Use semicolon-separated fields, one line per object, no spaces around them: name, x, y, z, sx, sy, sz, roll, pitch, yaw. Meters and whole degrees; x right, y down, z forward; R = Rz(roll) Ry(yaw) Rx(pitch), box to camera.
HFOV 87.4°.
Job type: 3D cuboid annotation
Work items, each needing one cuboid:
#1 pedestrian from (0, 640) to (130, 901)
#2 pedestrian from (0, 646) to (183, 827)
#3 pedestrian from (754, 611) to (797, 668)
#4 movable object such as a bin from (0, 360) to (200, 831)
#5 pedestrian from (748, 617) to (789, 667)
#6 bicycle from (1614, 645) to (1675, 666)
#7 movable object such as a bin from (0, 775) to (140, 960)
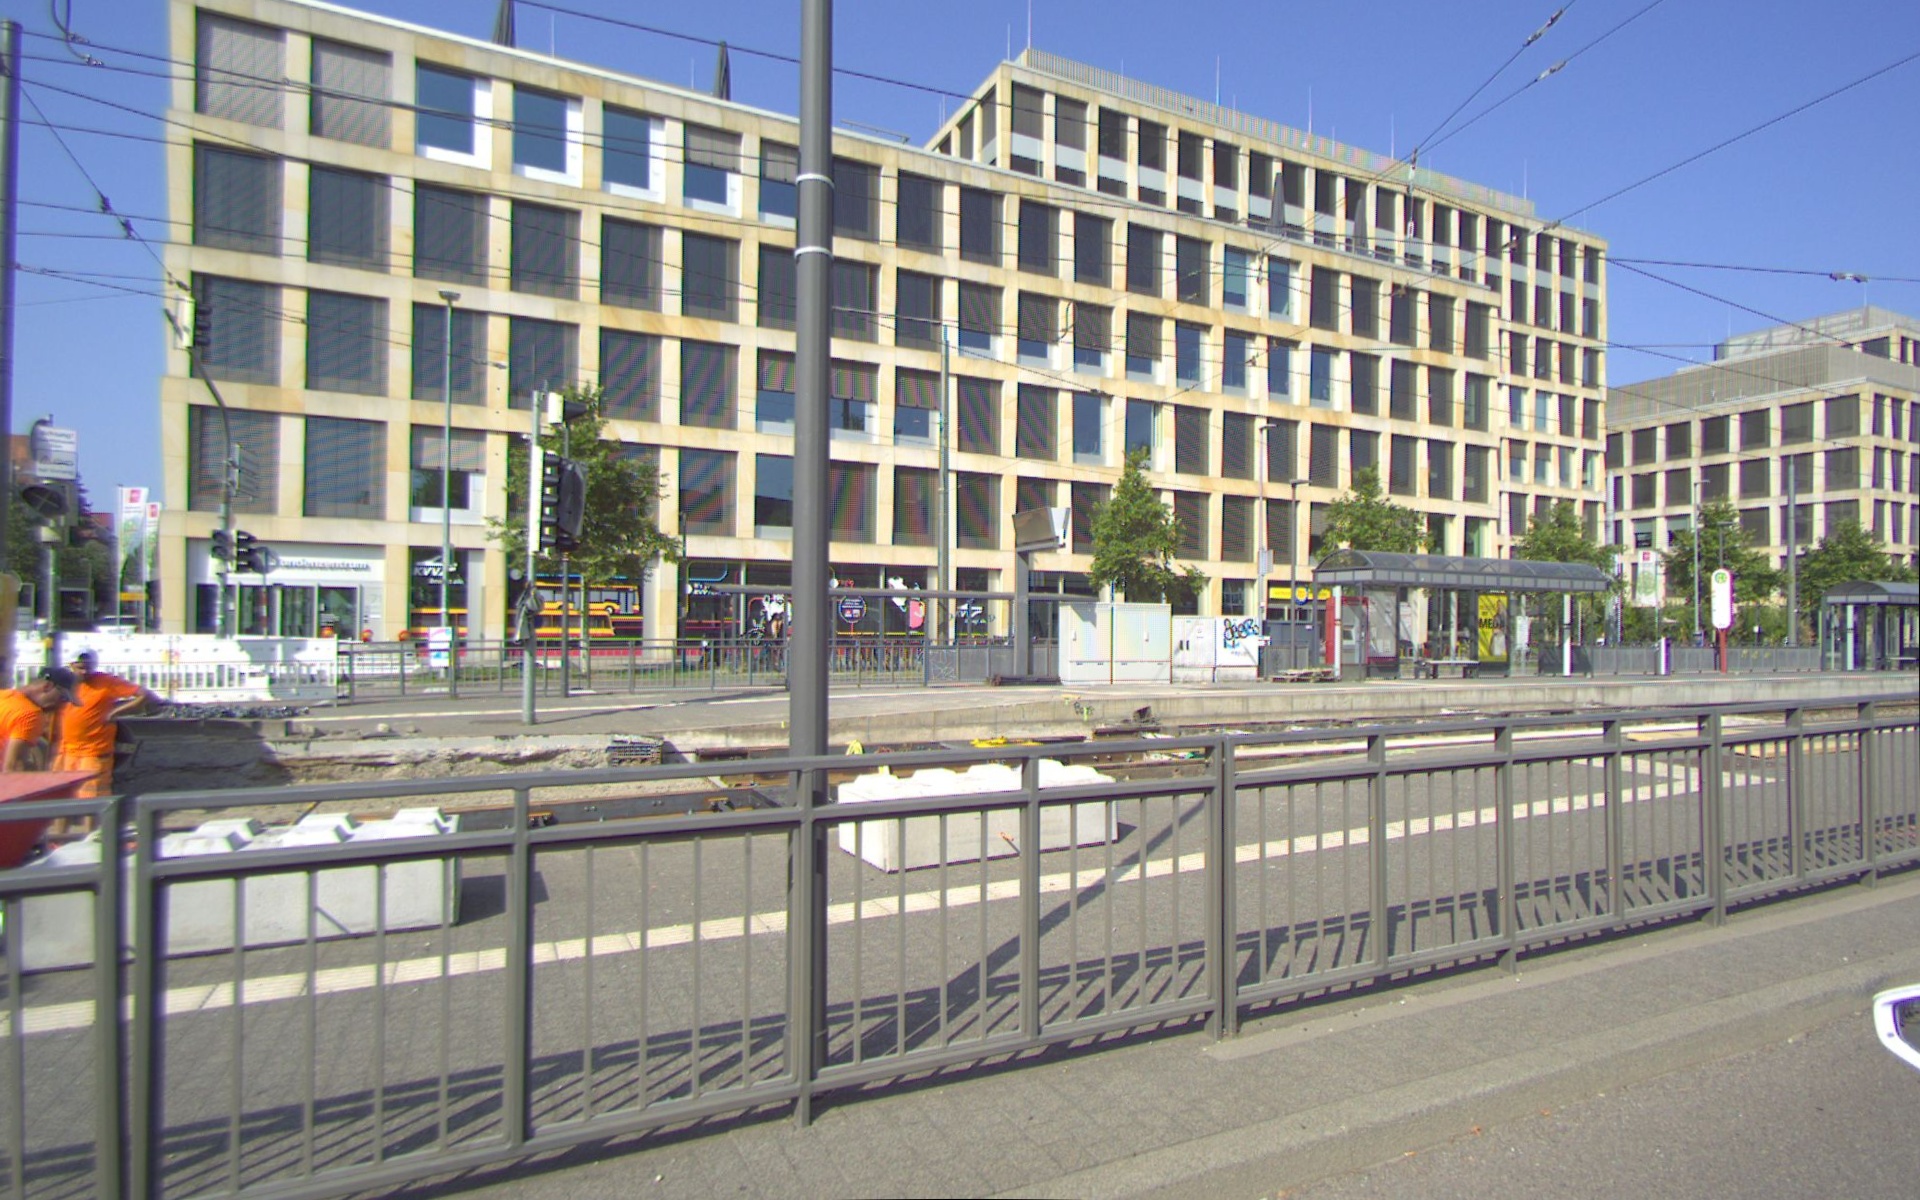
pedestrian;-5.309;0.886;5.517;0.783;1.324;0.840;0;-1;-2
pedestrian;-7.033;1.043;8.077;0.968;1.324;1.013;1;-1;-22
pedestrian;-5.894;1.268;32.105;1.108;1.775;0.973;1;-2;-26
movable object such as a bin;-12.729;-0.037;9.070;8.865;4.066;3.515;0;-2;-2
pedestrian;-6.317;1.372;33.176;1.108;1.618;0.973;1;-2;-26
bicycle;34.011;2.753;49.941;0.811;0.999;2.425;1;-2;-26
movable object such as a bin;-4.367;1.176;4.209;0.688;0.661;1.509;0;-2;-4
